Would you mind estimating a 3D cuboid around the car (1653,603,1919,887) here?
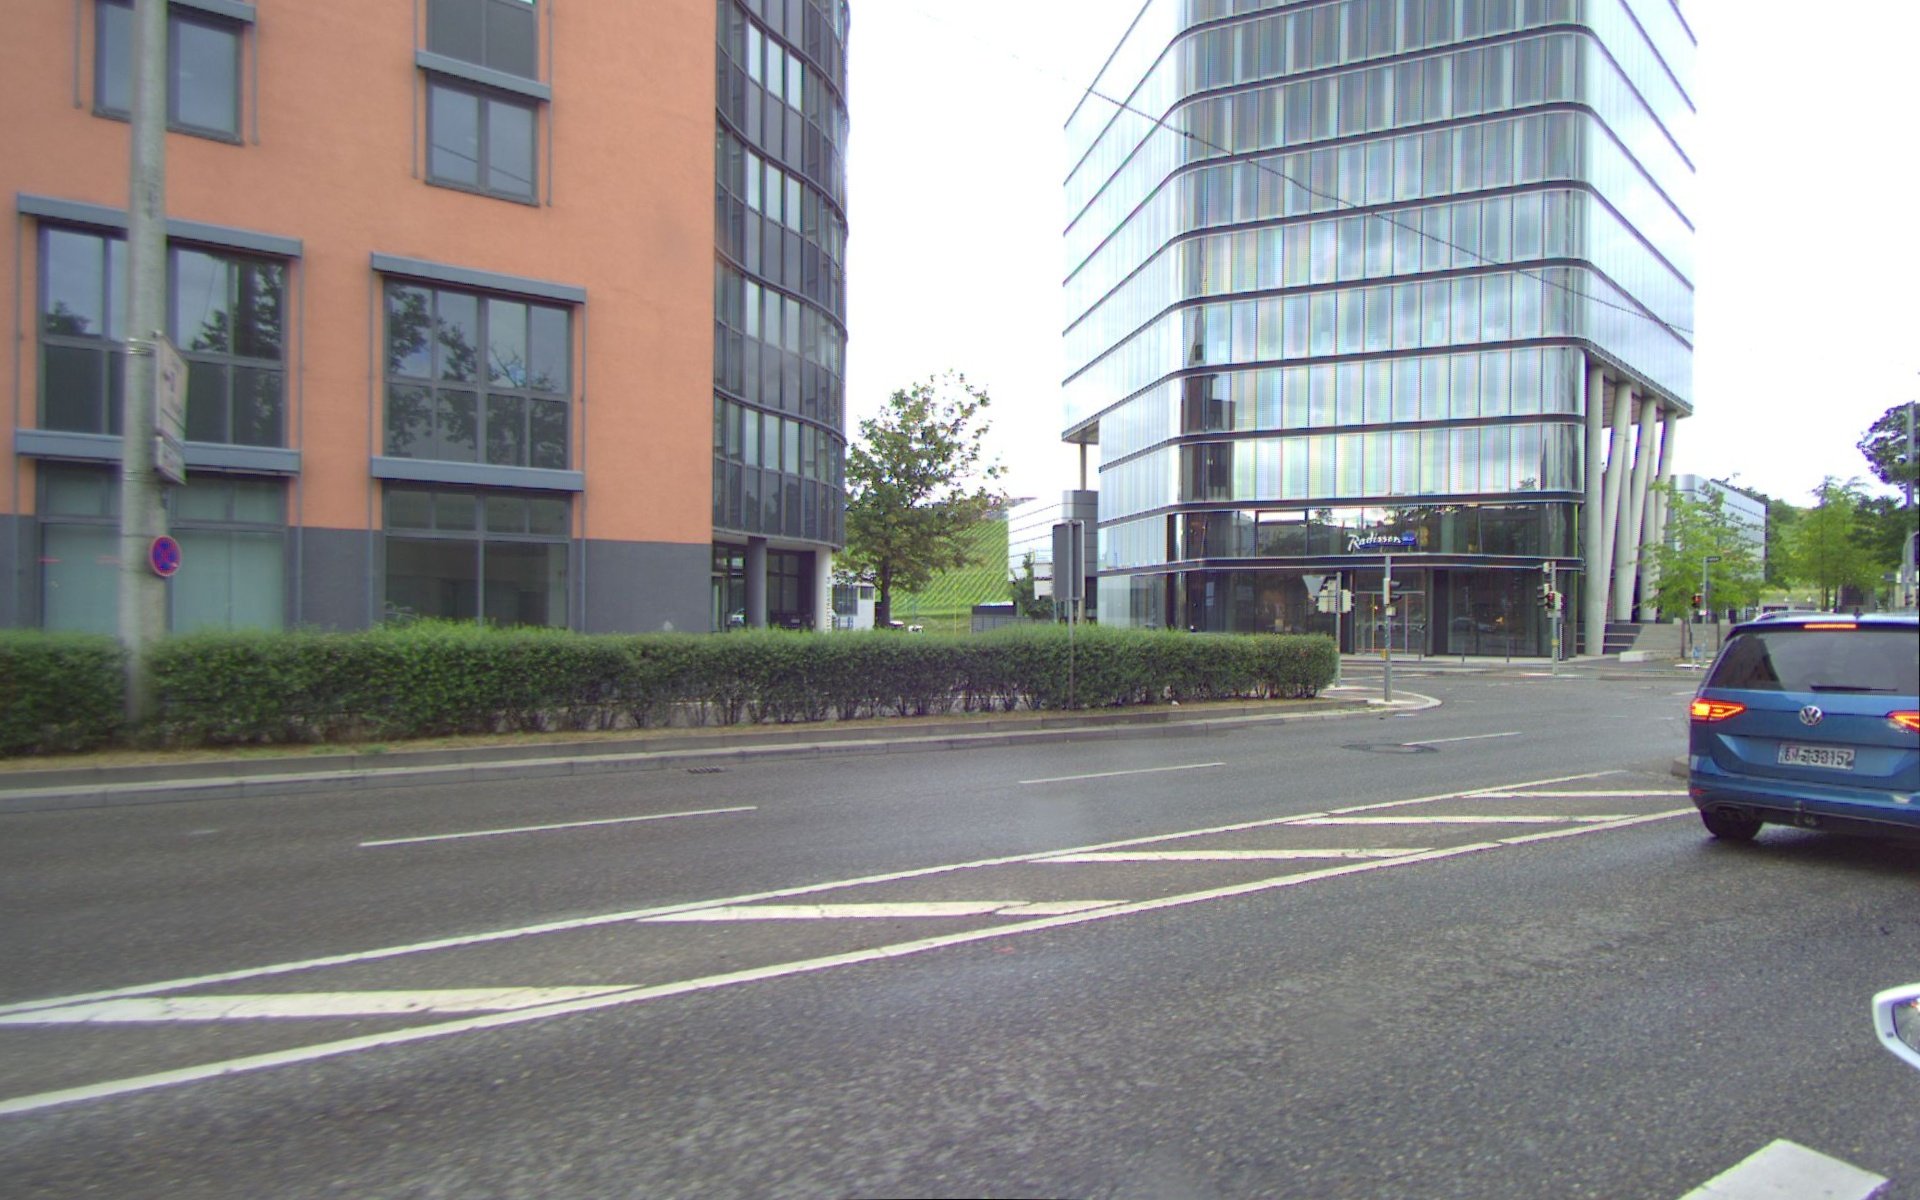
[{"bbox_3d":[7.046,0.873,7.211,4.146,1.617,1.765,1,-2,-29],"label":"car"}]
